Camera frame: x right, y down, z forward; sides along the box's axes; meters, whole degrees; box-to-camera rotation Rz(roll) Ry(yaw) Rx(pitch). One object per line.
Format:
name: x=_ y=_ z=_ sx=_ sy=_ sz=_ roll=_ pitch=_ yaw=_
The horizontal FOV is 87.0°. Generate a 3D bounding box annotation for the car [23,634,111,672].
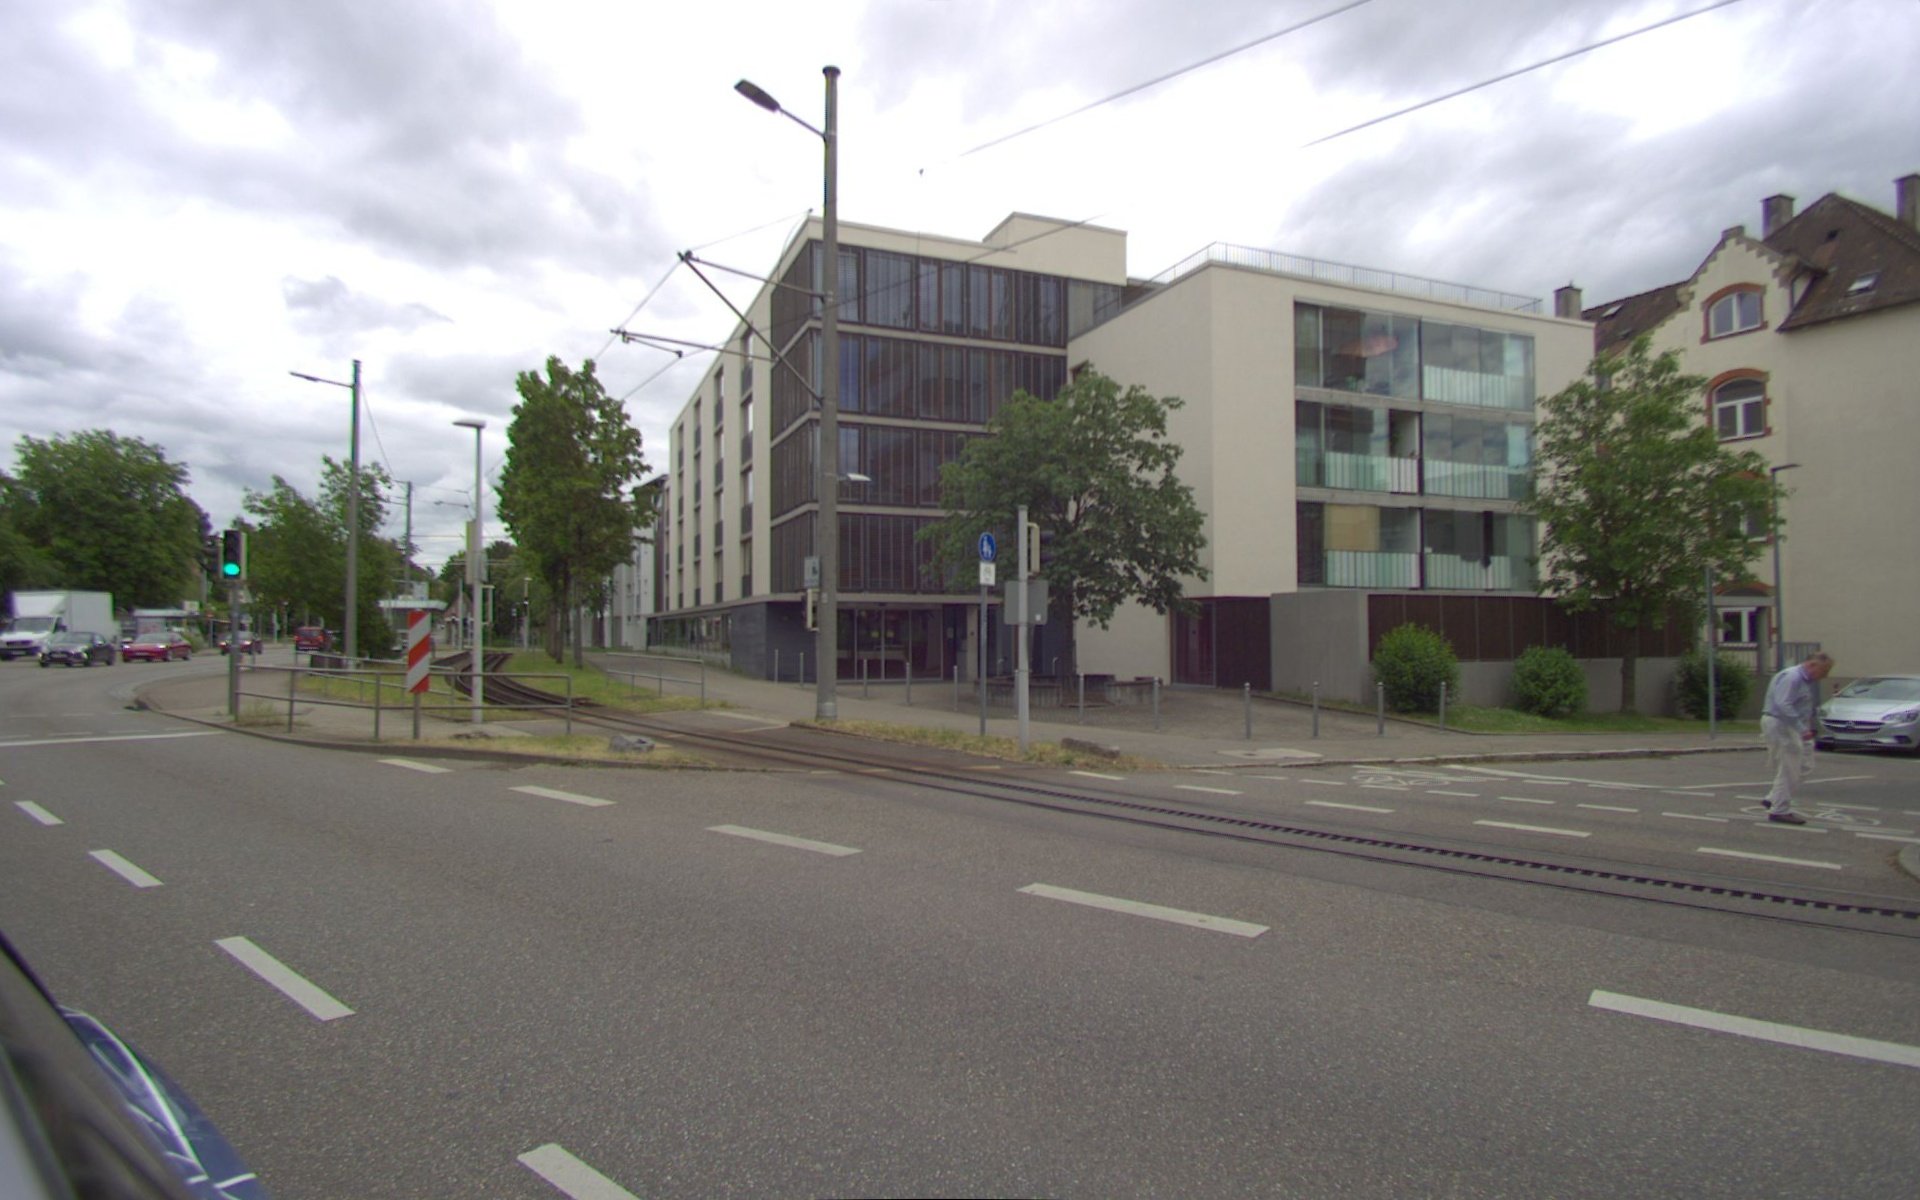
car: x=-37.786 y=2.211 z=42.927 sx=1.819 sy=1.546 sz=4.013 roll=1 pitch=-2 yaw=-27

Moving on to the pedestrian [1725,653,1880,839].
pedestrian: x=7.557 y=1.253 z=9.105 sx=0.995 sy=1.538 sz=0.839 roll=-2 pitch=-4 yaw=41

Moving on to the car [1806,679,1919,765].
car: x=17.425 y=2.161 z=18.317 sx=3.930 sy=1.369 sz=1.647 roll=3 pitch=-3 yaw=-24

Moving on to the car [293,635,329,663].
car: x=-45.077 y=3.412 z=70.379 sx=1.657 sy=1.822 sz=4.365 roll=3 pitch=-4 yaw=-27

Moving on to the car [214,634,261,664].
car: x=-47.378 y=3.174 z=66.438 sx=1.819 sy=1.875 sz=4.271 roll=1 pitch=-2 yaw=-26

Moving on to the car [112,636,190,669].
car: x=-39.629 y=2.596 z=49.665 sx=1.819 sy=1.546 sz=4.013 roll=2 pitch=-4 yaw=-21

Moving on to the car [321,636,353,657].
car: x=-47.478 y=3.542 z=77.141 sx=1.743 sy=1.490 sz=4.012 roll=3 pitch=-4 yaw=-28

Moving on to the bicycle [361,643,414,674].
bicycle: x=-21.638 y=2.204 z=38.256 sx=1.682 sy=1.097 sz=0.409 roll=-1 pitch=-2 yaw=-35

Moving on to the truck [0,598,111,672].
truck: x=-45.689 y=1.738 z=50.699 sx=2.499 sy=3.452 sz=7.801 roll=0 pitch=-2 yaw=-22

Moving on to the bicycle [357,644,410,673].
bicycle: x=-22.367 y=2.271 z=39.304 sx=1.724 sy=1.054 sz=0.409 roll=-1 pitch=-2 yaw=-21
